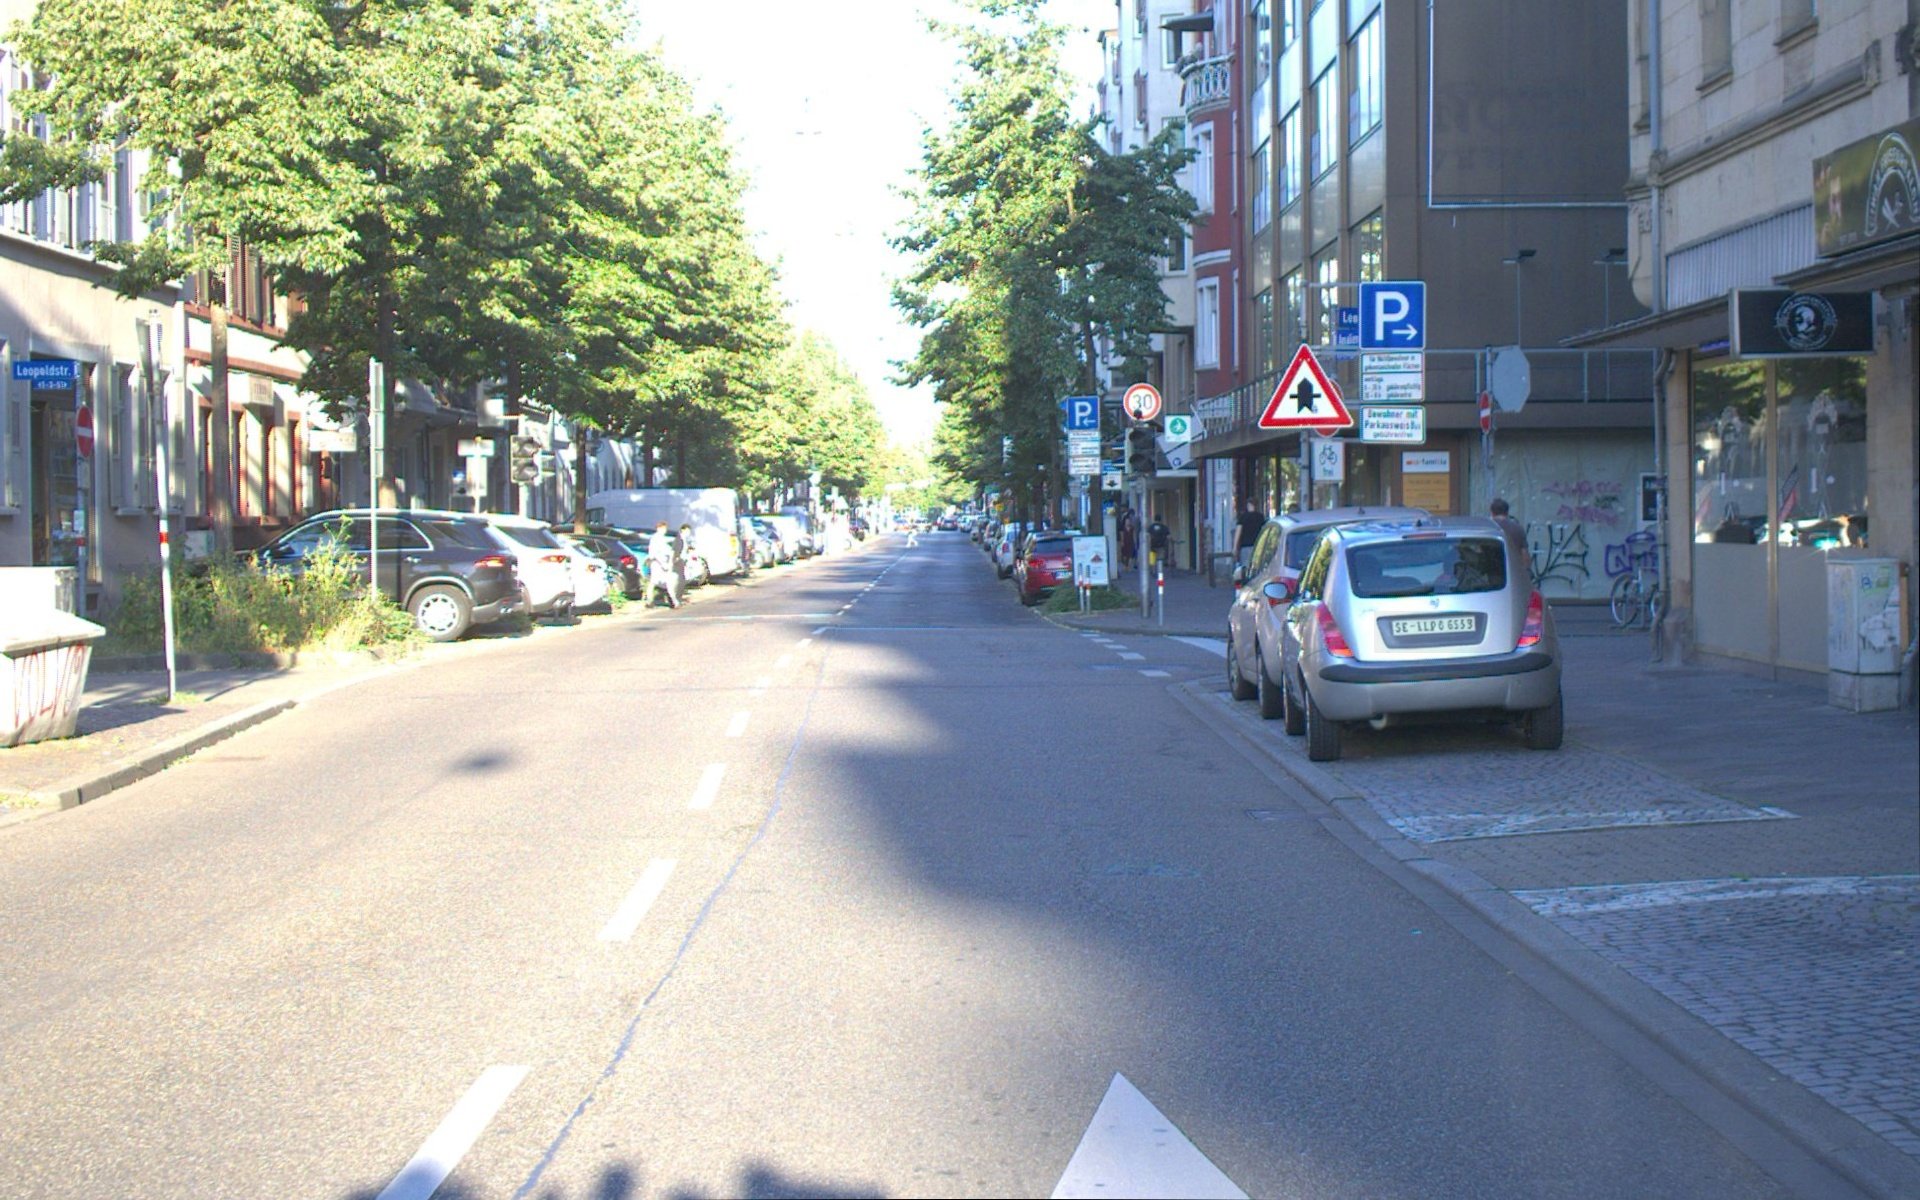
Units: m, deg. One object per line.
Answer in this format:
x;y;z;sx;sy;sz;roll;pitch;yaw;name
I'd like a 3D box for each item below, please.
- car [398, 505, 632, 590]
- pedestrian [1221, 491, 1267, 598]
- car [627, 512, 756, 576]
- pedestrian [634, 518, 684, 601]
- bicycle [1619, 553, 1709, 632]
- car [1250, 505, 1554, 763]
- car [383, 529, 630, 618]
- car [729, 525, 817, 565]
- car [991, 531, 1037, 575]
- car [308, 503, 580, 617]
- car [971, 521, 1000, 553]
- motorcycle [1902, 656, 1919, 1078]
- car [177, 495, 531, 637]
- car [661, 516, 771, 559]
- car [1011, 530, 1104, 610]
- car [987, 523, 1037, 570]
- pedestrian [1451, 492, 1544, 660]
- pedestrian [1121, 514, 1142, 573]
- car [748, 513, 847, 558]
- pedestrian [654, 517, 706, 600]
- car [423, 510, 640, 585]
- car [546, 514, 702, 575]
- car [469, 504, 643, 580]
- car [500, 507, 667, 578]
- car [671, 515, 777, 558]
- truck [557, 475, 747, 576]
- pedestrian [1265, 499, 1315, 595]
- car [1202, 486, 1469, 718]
-8.931;-1.067;69.275;4.426;1.594;2.000;1;1;-1;car
5.008;-0.983;60.650;0.714;1.859;0.680;0;2;-3;pedestrian
-8.125;-1.709;104.227;3.739;1.852;2.000;1;2;-1;car
-6.105;-0.818;69.685;0.714;1.667;0.710;-1;2;-40;pedestrian
9.615;-0.108;47.009;0.414;1.027;1.691;0;2;-18;bicycle
2.954;0.161;23.666;1.680;1.555;4.000;-2;2;2;car
-8.105;-0.490;61.751;4.175;1.502;2.000;1;1;-1;car
-8.218;-2.416;151.271;3.739;1.702;2.000;1;2;-1;car
1.595;-1.401;102.494;1.206;1.296;2.661;0;1;-3;car
-8.033;-0.639;53.786;3.989;1.702;1.833;1;2;-1;car
1.265;-3.190;174.052;1.308;1.594;2.661;0;1;-3;car
2.524;0.748;6.898;0.588;1.196;2.210;-3;2;-1;motorcycle
-8.190;-0.463;46.729;4.449;1.829;2.034;1;1;-1;car
-8.586;-2.206;121.339;3.739;1.444;2.000;1;1;-1;car
1.974;-0.613;70.343;1.576;1.537;3.397;-2;1;-3;car
1.420;-1.479;95.197;1.206;1.296;2.661;0;1;-3;car
5.729;-0.269;36.687;0.755;1.761;1.222;1;2;-1;pedestrian
4.785;-1.583;96.037;0.534;1.616;0.534;1;2;0;pedestrian
-6.304;-2.506;133.371;3.739;1.702;2.000;1;2;-1;car
-5.777;-0.862;70.874;0.721;1.677;0.757;0;2;-40;pedestrian
-9.214;-1.151;74.214;4.426;1.498;2.000;1;1;-1;car
-8.474;-1.401;86.836;3.739;1.444;2.000;1;1;-1;car
-9.279;-1.337;79.172;3.739;1.636;2.000;1;1;-1;car
-8.962;-1.372;81.986;3.739;1.590;2.000;1;1;-1;car
-8.637;-2.339;126.095;3.739;1.487;2.000;1;1;-1;car
-8.319;-2.014;93.199;4.940;2.606;2.000;1;1;-1;truck
5.822;-0.942;60.665;0.765;1.683;0.786;0;2;-2;pedestrian
3.016;-0.046;28.311;1.696;1.763;4.001;-1;2;-1;car
